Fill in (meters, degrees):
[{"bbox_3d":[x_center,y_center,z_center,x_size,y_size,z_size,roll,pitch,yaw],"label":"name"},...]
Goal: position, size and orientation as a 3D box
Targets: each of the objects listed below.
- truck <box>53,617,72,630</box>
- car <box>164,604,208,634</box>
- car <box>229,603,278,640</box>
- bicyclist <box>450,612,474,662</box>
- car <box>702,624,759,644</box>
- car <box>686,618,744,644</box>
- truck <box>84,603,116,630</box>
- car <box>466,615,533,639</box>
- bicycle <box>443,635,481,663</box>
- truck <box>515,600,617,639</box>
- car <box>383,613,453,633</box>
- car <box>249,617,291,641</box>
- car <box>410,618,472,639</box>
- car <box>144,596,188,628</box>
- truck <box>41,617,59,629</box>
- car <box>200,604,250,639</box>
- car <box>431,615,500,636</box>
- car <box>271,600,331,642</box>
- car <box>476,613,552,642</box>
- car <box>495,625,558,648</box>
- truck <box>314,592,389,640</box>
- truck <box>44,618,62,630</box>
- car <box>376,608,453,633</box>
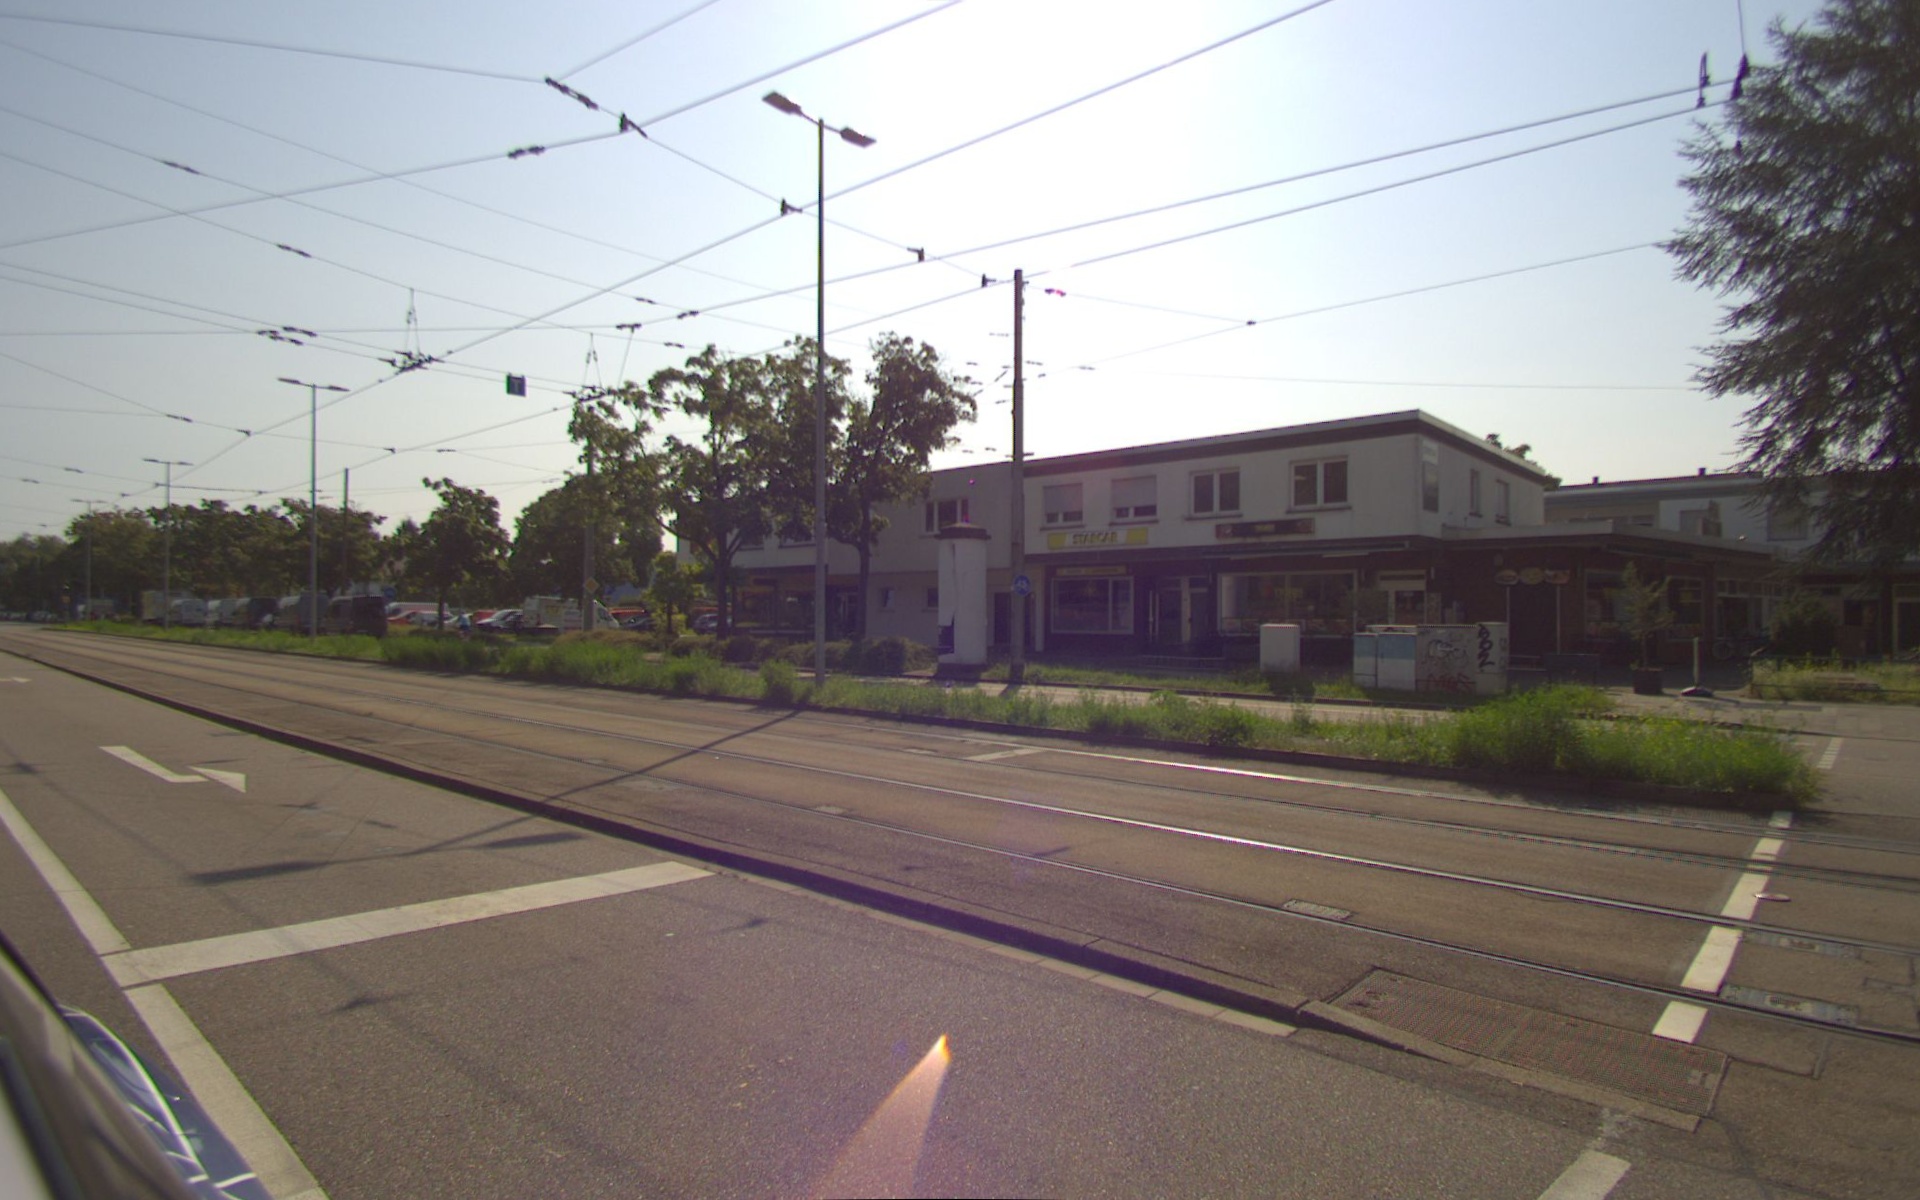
[{"bbox_3d":[-129.131,3.365,145.623,3.656,1.687,1.668,0,-3,43],"label":"truck"},{"bbox_3d":[-68.139,1.668,89.102,4.830,2.477,2.120,0,-3,42],"label":"car"},{"bbox_3d":[-51.627,1.580,73.905,5.911,2.606,1.802,-1,-1,44],"label":"car"},{"bbox_3d":[-21.174,1.573,43.026,0.775,2.080,0.630,-1,-3,44],"label":"bicyclist"},{"bbox_3d":[-16.205,2.400,71.466,3.659,1.353,1.493,2,-2,-40],"label":"car"},{"bbox_3d":[-17.946,2.297,74.235,3.757,1.782,1.760,4,-3,-42],"label":"car"},{"bbox_3d":[-106.689,2.025,125.488,2.247,3.145,8.792,4,-3,-44],"label":"truck"},{"bbox_3d":[-31.889,1.868,70.131,1.633,1.530,3.882,0,-3,41],"label":"car"},{"bbox_3d":[-21.138,2.063,42.949,2.266,1.099,0.707,-1,-3,44],"label":"bicycle"},{"bbox_3d":[-24.382,1.248,62.833,2.259,2.189,5.432,0,-3,41],"label":"truck"},{"bbox_3d":[-43.211,1.831,80.708,1.633,1.461,4.604,0,-3,41],"label":"car"},{"bbox_3d":[-47.374,1.980,69.487,1.724,1.564,3.836,1,-1,-45],"label":"car"},{"bbox_3d":[-39.487,2.180,77.068,1.633,1.461,3.882,0,-3,41],"label":"car"},{"bbox_3d":[-75.203,1.147,95.805,7.232,2.826,2.101,0,-3,43],"label":"car"},{"bbox_3d":[-139.787,3.543,155.507,3.656,1.687,1.668,0,-3,43],"label":"truck"},{"bbox_3d":[-57.629,1.664,79.321,5.631,2.606,2.109,0,-3,43],"label":"car"},{"bbox_3d":[-35.598,1.854,72.921,4.107,1.474,1.626,3,-3,-44],"label":"car"},{"bbox_3d":[-42.649,1.333,65.446,6.470,2.606,1.966,-1,-1,45],"label":"car"},{"bbox_3d":[-29.993,1.869,68.103,1.633,1.798,4.352,0,-3,41],"label":"car"},{"bbox_3d":[-28.197,2.381,65.904,1.633,1.437,3.368,0,-3,41],"label":"car"},{"bbox_3d":[-35.295,0.924,58.612,5.738,2.567,2.058,0,-3,42],"label":"truck"},{"bbox_3d":[-136.752,3.598,152.578,3.656,1.687,1.668,0,-3,43],"label":"truck"},{"bbox_3d":[-44.972,1.715,83.519,2.052,1.940,5.130,0,-3,41],"label":"car"}]
